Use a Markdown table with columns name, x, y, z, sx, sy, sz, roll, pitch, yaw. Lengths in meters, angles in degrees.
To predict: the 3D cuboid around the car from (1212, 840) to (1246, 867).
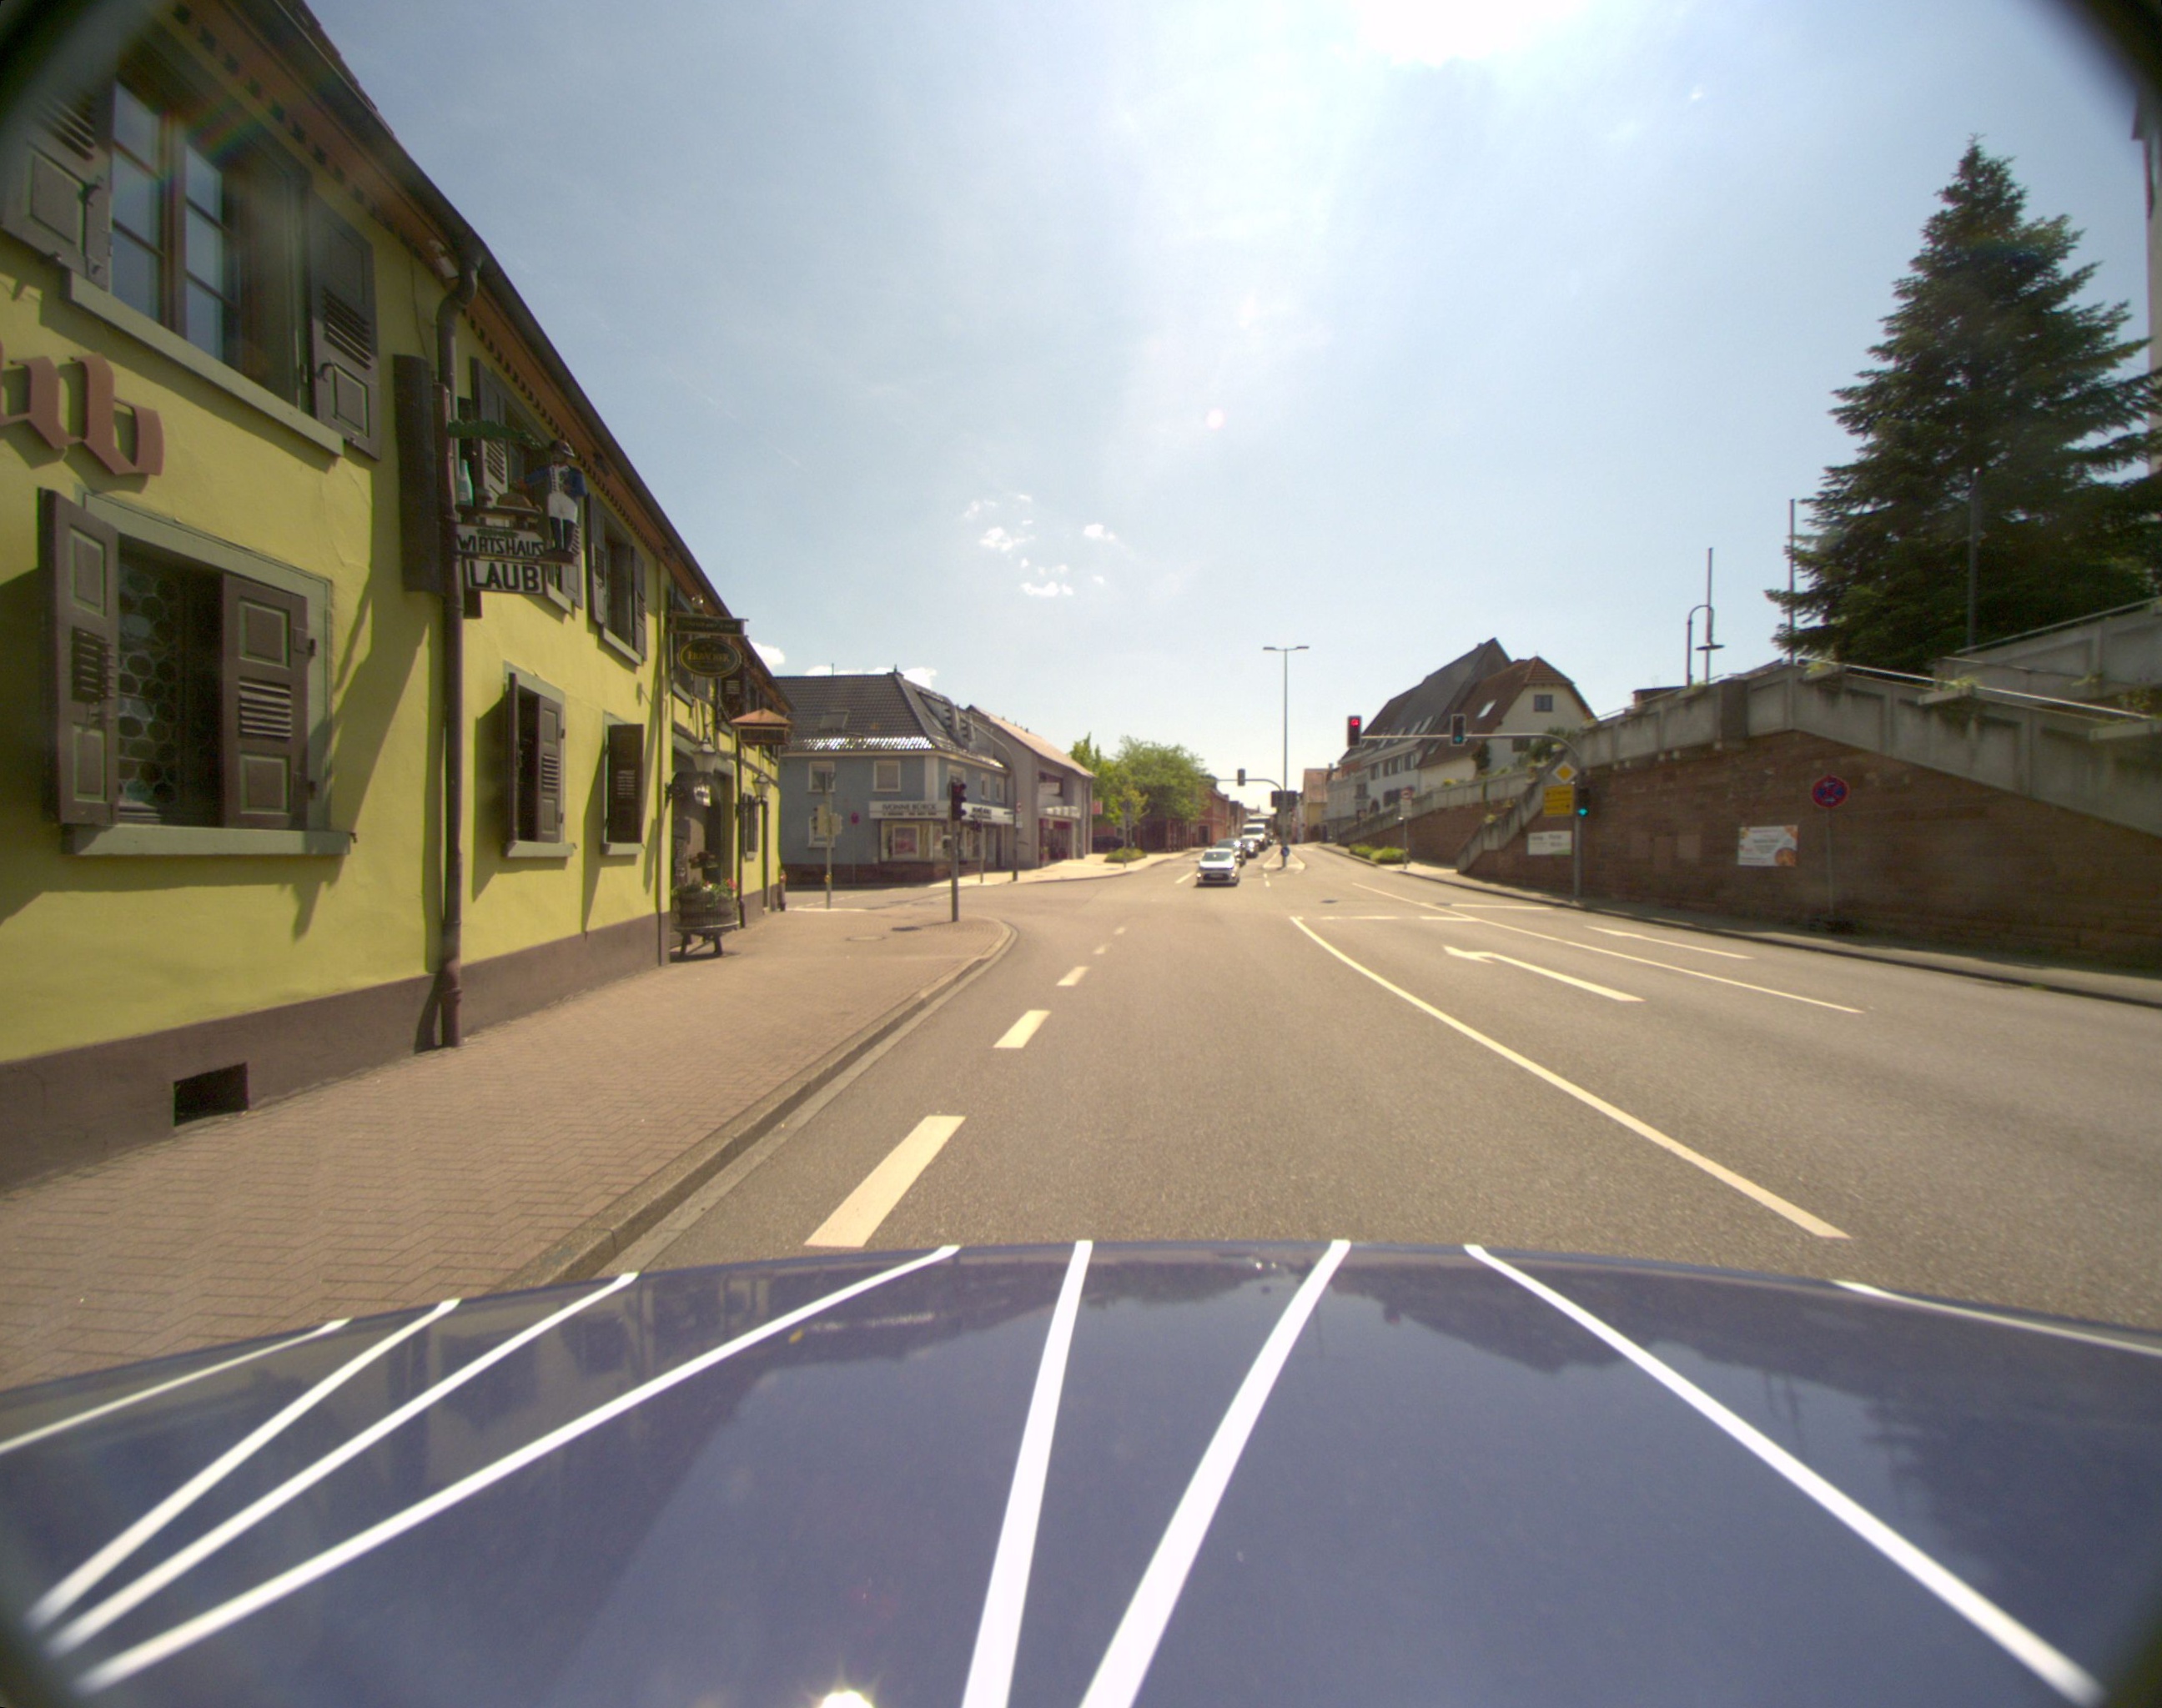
| name | x | y | z | sx | sy | sz | roll | pitch | yaw |
| --- | --- | --- | --- | --- | --- | --- | --- | --- | --- |
| car | 9.100 | -0.069 | 46.520 | 1.722 | 1.542 | 4.307 | -1 | 1 | 15 |

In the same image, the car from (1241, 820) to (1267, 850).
| name | x | y | z | sx | sy | sz | roll | pitch | yaw |
| --- | --- | --- | --- | --- | --- | --- | --- | --- | --- |
| car | 15.226 | -1.656 | 66.781 | 2.173 | 2.549 | 4.829 | 0 | 1 | 13 |

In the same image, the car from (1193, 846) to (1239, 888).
| name | x | y | z | sx | sy | sz | roll | pitch | yaw |
| --- | --- | --- | --- | --- | --- | --- | --- | --- | --- |
| car | 5.665 | 0.485 | 31.602 | 1.723 | 1.542 | 4.306 | -2 | 1 | 12 |

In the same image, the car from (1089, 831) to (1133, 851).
| name | x | y | z | sx | sy | sz | roll | pitch | yaw |
| --- | --- | --- | --- | --- | --- | --- | --- | --- | --- |
| car | 2.716 | -1.160 | 69.124 | 3.757 | 1.701 | 1.725 | -2 | 1 | 9 |

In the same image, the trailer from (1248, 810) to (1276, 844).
| name | x | y | z | sx | sy | sz | roll | pitch | yaw |
| --- | --- | --- | --- | --- | --- | --- | --- | --- | --- |
| trailer | 20.320 | -2.867 | 85.336 | 2.834 | 3.549 | 10.976 | 0 | 1 | 14 |

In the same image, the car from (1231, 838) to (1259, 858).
| name | x | y | z | sx | sy | sz | roll | pitch | yaw |
| --- | --- | --- | --- | --- | --- | --- | --- | --- | --- |
| car | 12.042 | -0.455 | 55.643 | 1.927 | 1.358 | 4.307 | -2 | 1 | 13 |

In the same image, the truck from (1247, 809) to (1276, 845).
| name | x | y | z | sx | sy | sz | roll | pitch | yaw |
| --- | --- | --- | --- | --- | --- | --- | --- | --- | --- |
| truck | 18.760 | -2.752 | 79.025 | 2.845 | 3.549 | 5.473 | 0 | 1 | 14 |
